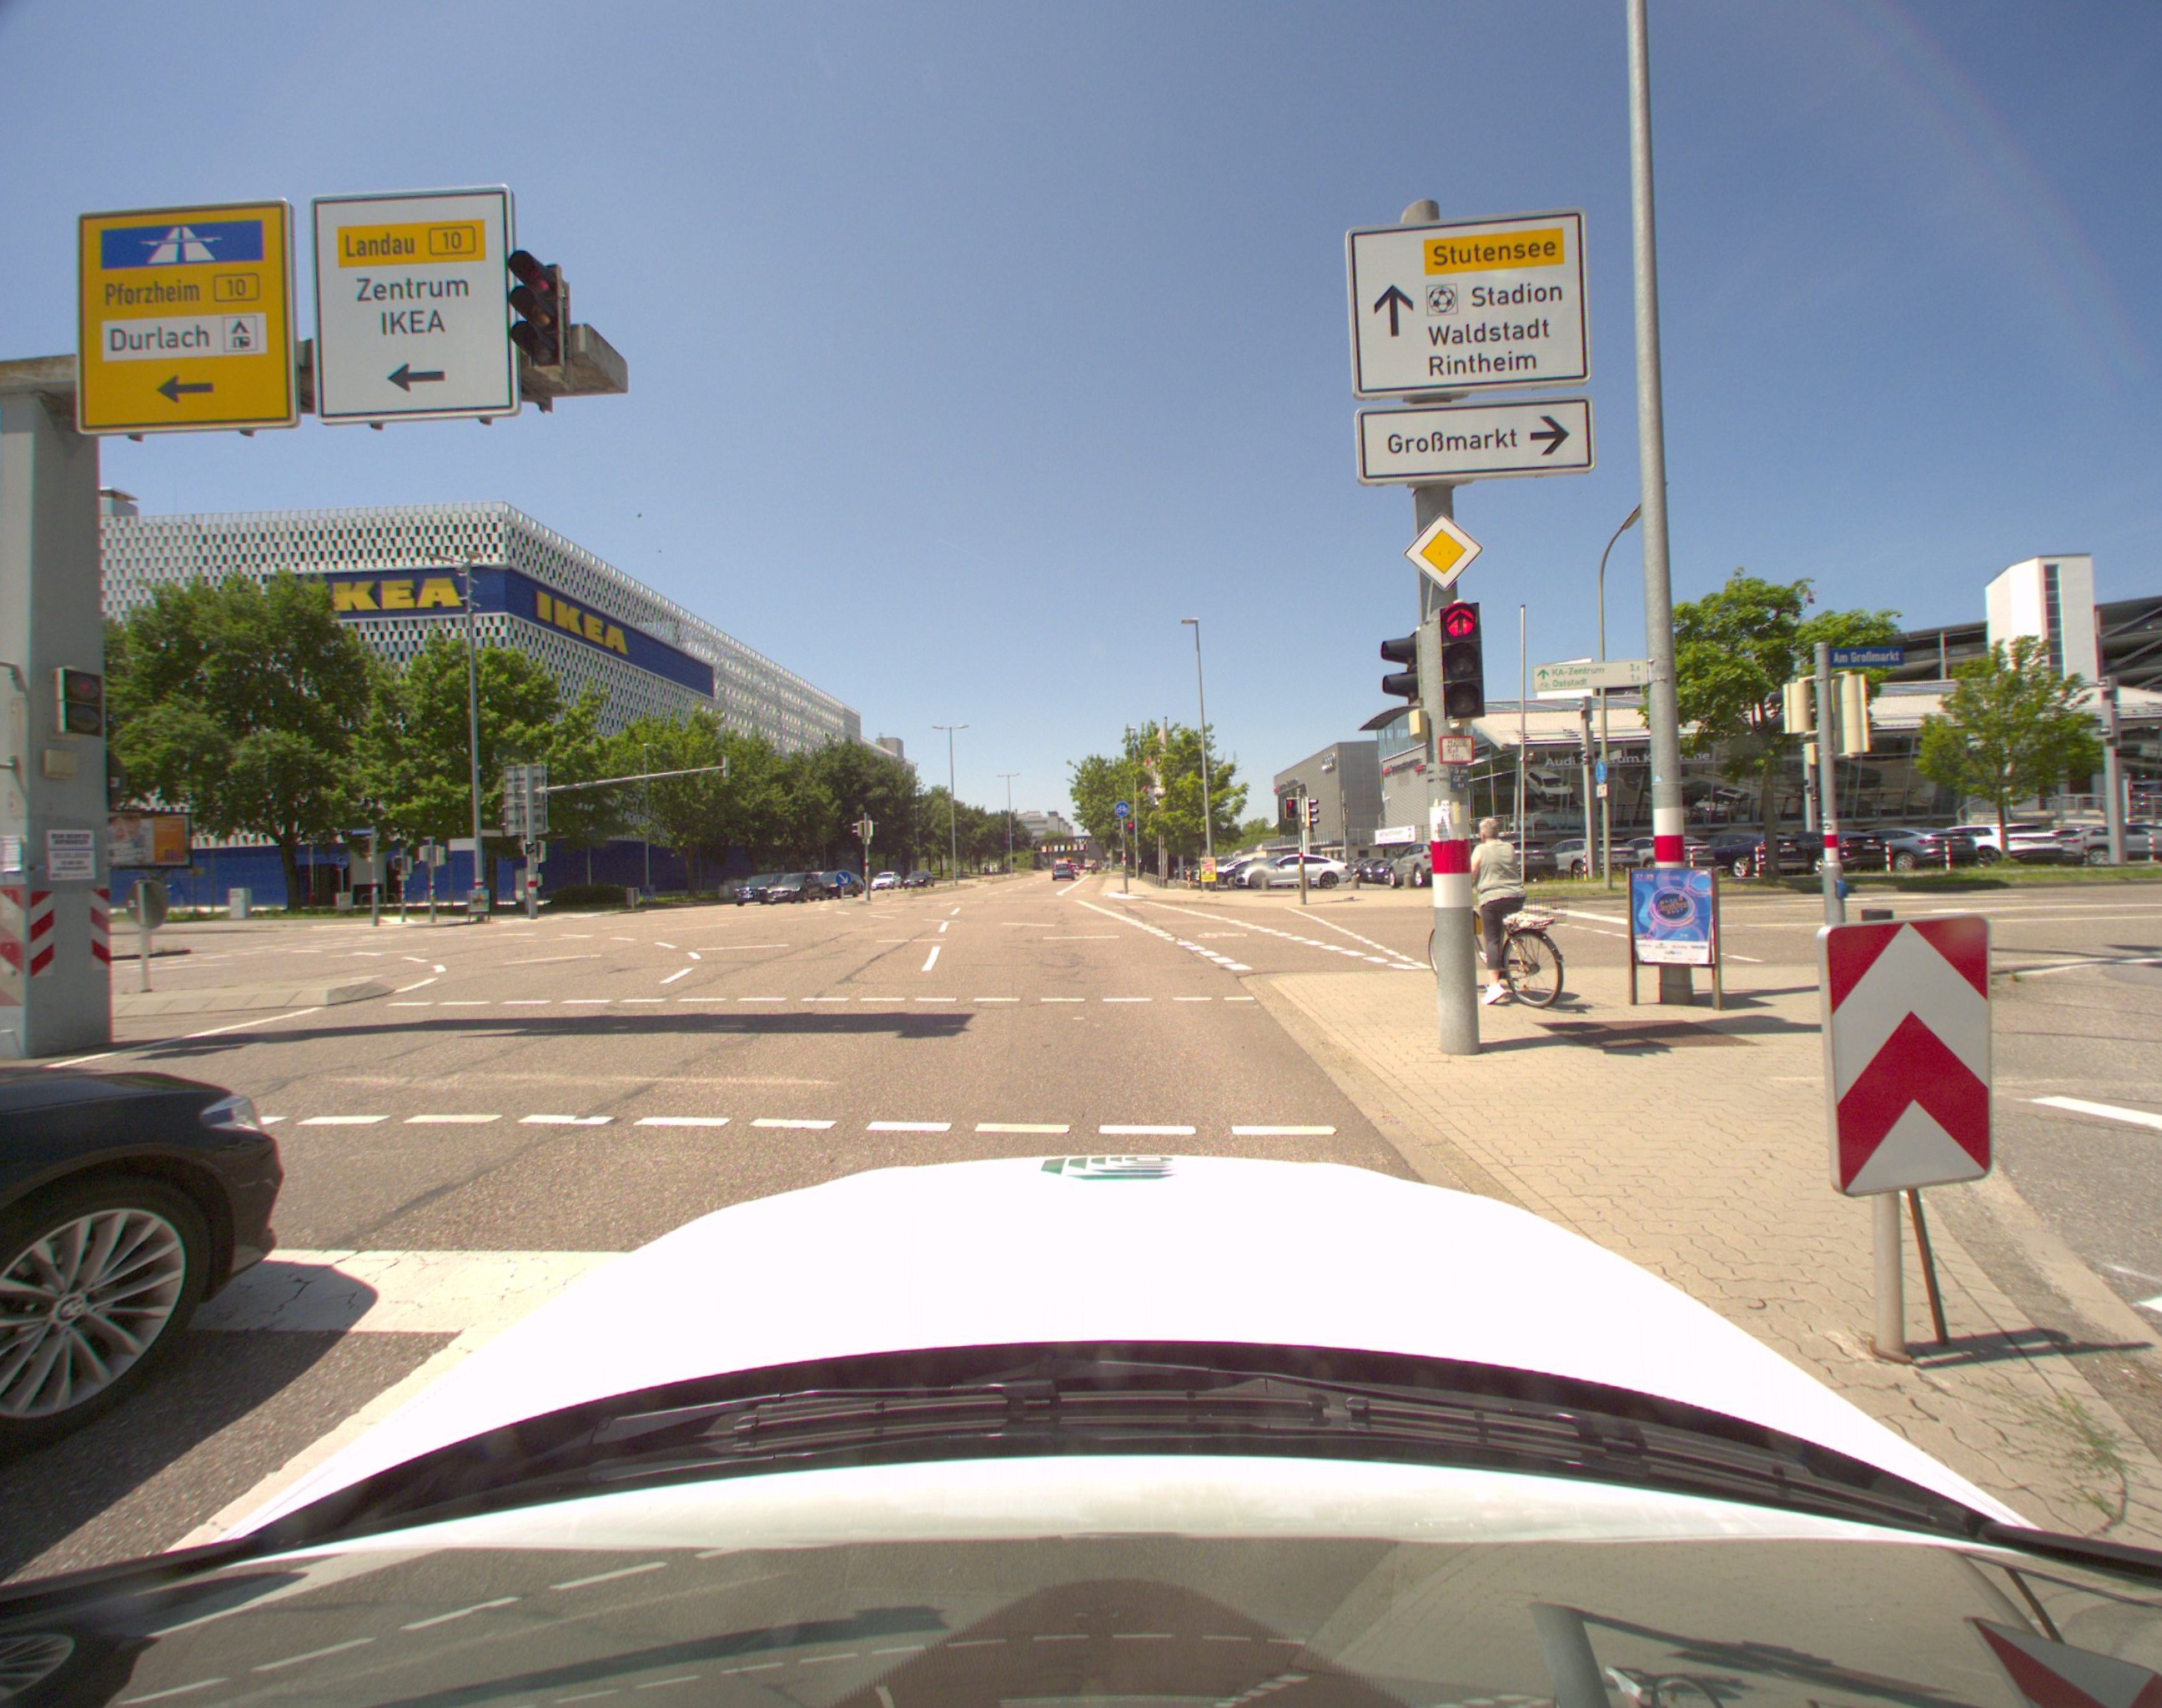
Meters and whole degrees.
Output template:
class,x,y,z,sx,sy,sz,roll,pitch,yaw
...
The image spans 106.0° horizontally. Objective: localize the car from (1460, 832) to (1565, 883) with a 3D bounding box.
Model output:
class,x,y,z,sx,sy,sz,roll,pitch,yaw
car,15.057,0.179,28.643,1.836,1.655,4.003,0,-2,5

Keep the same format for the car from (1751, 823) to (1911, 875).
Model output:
class,x,y,z,sx,sy,sz,roll,pitch,yaw
car,25.927,-0.133,28.360,1.840,1.654,3.994,0,-1,-2

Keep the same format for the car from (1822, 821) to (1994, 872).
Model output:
class,x,y,z,sx,sy,sz,roll,pitch,yaw
car,28.497,-0.224,28.262,1.840,1.654,3.994,0,-1,-2

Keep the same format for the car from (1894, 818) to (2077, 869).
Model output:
class,x,y,z,sx,sy,sz,roll,pitch,yaw
car,31.182,-0.316,28.267,1.840,1.654,3.994,0,-1,-2

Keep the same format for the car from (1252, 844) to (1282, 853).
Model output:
class,x,y,z,sx,sy,sz,roll,pitch,yaw
car,27.479,-0.879,120.310,3.930,1.211,1.715,-1,-1,-3

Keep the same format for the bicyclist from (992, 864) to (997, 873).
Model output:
class,x,y,z,sx,sy,sz,roll,pitch,yaw
bicyclist,-16.578,2.807,156.318,0.634,1.582,0.885,-2,-1,3

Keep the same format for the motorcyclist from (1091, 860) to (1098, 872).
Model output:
class,x,y,z,sx,sy,sz,roll,pitch,yaw
motorcyclist,1.750,1.604,106.100,0.719,1.529,0.868,0,-1,-8

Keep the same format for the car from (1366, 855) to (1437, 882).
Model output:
class,x,y,z,sx,sy,sz,roll,pitch,yaw
car,19.135,0.842,48.741,3.634,1.580,1.643,0,-1,1

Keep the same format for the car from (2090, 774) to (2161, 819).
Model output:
class,x,y,z,sx,sy,sz,roll,pitch,yaw
car,45.779,-2.479,34.021,4.552,1.707,1.916,-2,-1,4

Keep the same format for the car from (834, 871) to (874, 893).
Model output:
class,x,y,z,sx,sy,sz,roll,pitch,yaw
car,-16.496,2.002,59.295,1.643,1.486,3.916,-3,-1,2

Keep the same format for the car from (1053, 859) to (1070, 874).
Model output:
class,x,y,z,sx,sy,sz,roll,pitch,yaw
car,-2.681,1.738,112.717,1.986,2.014,4.000,-2,-1,1

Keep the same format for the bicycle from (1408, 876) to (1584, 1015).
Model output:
class,x,y,z,sx,sy,sz,roll,pitch,yaw
bicycle,3.983,0.818,8.011,0.627,1.133,1.891,-1,0,-5

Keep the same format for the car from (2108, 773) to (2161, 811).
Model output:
class,x,y,z,sx,sy,sz,roll,pitch,yaw
car,53.471,-3.108,39.518,1.905,1.722,4.142,-2,0,-5

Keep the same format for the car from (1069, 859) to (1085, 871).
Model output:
class,x,y,z,sx,sy,sz,roll,pitch,yaw
car,-0.449,1.313,96.836,1.737,1.396,3.530,-1,0,2

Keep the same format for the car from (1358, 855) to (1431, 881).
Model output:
class,x,y,z,sx,sy,sz,roll,pitch,yaw
car,19.636,0.861,51.052,3.967,1.573,1.634,0,-1,1

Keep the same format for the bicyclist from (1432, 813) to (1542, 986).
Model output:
class,x,y,z,sx,sy,sz,roll,pitch,yaw
bicyclist,3.976,0.427,8.029,0.627,1.606,0.824,0,-1,-5

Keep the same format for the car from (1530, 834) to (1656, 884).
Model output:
class,x,y,z,sx,sy,sz,roll,pitch,yaw
car,17.884,0.187,28.702,1.840,1.654,3.994,0,-1,-2

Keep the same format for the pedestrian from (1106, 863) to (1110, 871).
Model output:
class,x,y,z,sx,sy,sz,roll,pitch,yaw
pedestrian,4.628,2.161,138.311,0.621,1.374,0.564,-2,-1,0

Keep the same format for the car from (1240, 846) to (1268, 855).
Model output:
class,x,y,z,sx,sy,sz,roll,pitch,yaw
car,27.815,-0.559,130.877,3.978,1.312,1.795,-2,-1,-3

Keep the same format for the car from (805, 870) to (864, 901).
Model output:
class,x,y,z,sx,sy,sz,roll,pitch,yaw
car,-13.696,1.719,45.497,1.720,1.505,4.245,-4,-1,2

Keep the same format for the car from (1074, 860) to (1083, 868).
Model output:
class,x,y,z,sx,sy,sz,roll,pitch,yaw
car,-0.648,2.584,213.094,1.984,2.013,4.005,-3,-1,5

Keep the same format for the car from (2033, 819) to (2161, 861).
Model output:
class,x,y,z,sx,sy,sz,roll,pitch,yaw
car,39.633,-0.556,30.654,4.531,1.471,1.925,-3,-1,26

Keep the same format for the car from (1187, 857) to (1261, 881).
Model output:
class,x,y,z,sx,sy,sz,roll,pitch,yaw
car,8.623,0.896,49.232,4.210,1.390,1.869,0,-1,1

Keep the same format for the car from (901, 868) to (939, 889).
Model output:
class,x,y,z,sx,sy,sz,roll,pitch,yaw
car,-12.940,1.946,65.686,1.718,1.446,4.725,-4,-1,4

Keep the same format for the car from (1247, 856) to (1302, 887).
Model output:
class,x,y,z,sx,sy,sz,roll,pitch,yaw
car,9.352,0.814,39.604,1.855,1.420,4.667,0,-1,4

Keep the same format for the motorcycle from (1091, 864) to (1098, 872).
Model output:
class,x,y,z,sx,sy,sz,roll,pitch,yaw
motorcycle,1.764,1.804,106.047,0.716,1.105,1.825,-1,-1,-8

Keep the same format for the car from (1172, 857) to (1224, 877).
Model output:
class,x,y,z,sx,sy,sz,roll,pitch,yaw
car,8.609,0.990,60.251,3.668,1.453,1.834,0,-1,1

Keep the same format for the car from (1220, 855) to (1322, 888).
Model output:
class,x,y,z,sx,sy,sz,roll,pitch,yaw
car,8.253,0.747,35.588,4.081,1.390,1.869,0,-1,1

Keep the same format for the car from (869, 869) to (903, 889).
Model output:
class,x,y,z,sx,sy,sz,roll,pitch,yaw
car,-16.259,2.082,68.170,1.737,1.486,4.001,-3,-1,2

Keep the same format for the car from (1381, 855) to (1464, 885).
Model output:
class,x,y,z,sx,sy,sz,roll,pitch,yaw
car,19.052,0.881,45.532,3.970,1.622,1.657,0,-1,1

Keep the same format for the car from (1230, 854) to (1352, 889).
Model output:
class,x,y,z,sx,sy,sz,roll,pitch,yaw
car,8.480,0.704,33.195,4.572,1.390,1.871,0,-1,3

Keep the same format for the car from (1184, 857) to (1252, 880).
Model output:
class,x,y,z,sx,sy,sz,roll,pitch,yaw
car,8.742,0.908,52.163,4.085,1.405,1.869,0,-1,1

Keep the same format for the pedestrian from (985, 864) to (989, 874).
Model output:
class,x,y,z,sx,sy,sz,roll,pitch,yaw
pedestrian,-18.452,2.977,160.213,0.741,1.884,0.578,-2,-1,2

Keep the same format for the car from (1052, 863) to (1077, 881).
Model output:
class,x,y,z,sx,sy,sz,roll,pitch,yaw
car,-1.385,1.504,68.639,1.894,1.376,4.232,-2,-1,1

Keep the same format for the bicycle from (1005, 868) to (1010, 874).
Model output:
class,x,y,z,sx,sy,sz,roll,pitch,yaw
bicycle,-15.589,3.561,172.845,0.627,1.159,2.118,-4,-1,1

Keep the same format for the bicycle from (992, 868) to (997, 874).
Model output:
class,x,y,z,sx,sy,sz,roll,pitch,yaw
bicycle,-16.547,3.303,156.348,0.635,1.134,1.971,-2,-1,2

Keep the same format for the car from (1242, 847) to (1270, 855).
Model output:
class,x,y,z,sx,sy,sz,roll,pitch,yaw
car,27.478,-0.478,127.867,3.977,1.312,1.795,0,-1,-3

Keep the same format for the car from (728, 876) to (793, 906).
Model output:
class,x,y,z,sx,sy,sz,roll,pitch,yaw
car,-16.803,1.902,42.939,1.654,1.424,4.039,-3,-1,2

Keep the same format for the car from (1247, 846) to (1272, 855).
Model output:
class,x,y,z,sx,sy,sz,roll,pitch,yaw
car,27.308,-0.502,124.612,3.515,1.239,1.675,0,-1,-3

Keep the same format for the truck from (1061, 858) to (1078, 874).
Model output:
class,x,y,z,sx,sy,sz,roll,pitch,yaw
truck,-1.814,1.906,130.311,2.449,2.410,7.136,0,0,2

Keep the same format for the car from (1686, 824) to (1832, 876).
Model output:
class,x,y,z,sx,sy,sz,roll,pitch,yaw
car,23.133,-0.104,28.000,1.624,1.654,3.907,-1,-1,-2

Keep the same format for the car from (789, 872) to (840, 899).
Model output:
class,x,y,z,sx,sy,sz,roll,pitch,yaw
car,-16.675,1.936,51.180,1.720,1.544,3.916,-3,-1,2

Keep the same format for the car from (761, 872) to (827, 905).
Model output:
class,x,y,z,sx,sy,sz,roll,pitch,yaw
car,-13.725,1.638,39.210,1.637,1.389,3.717,-4,-1,2

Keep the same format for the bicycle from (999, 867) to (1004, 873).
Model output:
class,x,y,z,sx,sy,sz,roll,pitch,yaw
bicycle,-15.604,3.128,160.296,0.737,1.125,2.434,-2,-1,1

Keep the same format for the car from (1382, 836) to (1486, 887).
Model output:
class,x,y,z,sx,sy,sz,roll,pitch,yaw
car,12.407,0.312,28.974,1.860,1.558,4.506,-3,-2,3

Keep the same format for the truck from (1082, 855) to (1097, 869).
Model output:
class,x,y,z,sx,sy,sz,roll,pitch,yaw
truck,1.686,1.678,166.509,2.602,2.850,5.622,0,-1,5

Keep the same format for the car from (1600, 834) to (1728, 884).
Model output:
class,x,y,z,sx,sy,sz,roll,pitch,yaw
car,20.200,0.142,28.425,1.632,1.616,3.815,-1,1,-2

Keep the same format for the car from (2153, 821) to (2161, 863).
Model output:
class,x,y,z,sx,sy,sz,roll,pitch,yaw
car,39.493,-0.491,26.889,4.558,1.471,1.861,-3,-1,26

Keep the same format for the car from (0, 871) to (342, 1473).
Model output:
class,x,y,z,sx,sy,sz,roll,pitch,yaw
car,-3.541,0.787,0.585,1.791,1.440,4.557,-2,0,1

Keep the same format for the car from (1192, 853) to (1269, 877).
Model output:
class,x,y,z,sx,sy,sz,roll,pitch,yaw
car,8.484,0.618,46.390,4.084,1.349,1.869,0,-1,1

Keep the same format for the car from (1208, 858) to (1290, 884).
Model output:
class,x,y,z,sx,sy,sz,roll,pitch,yaw
car,8.951,0.908,43.614,4.081,1.364,1.875,0,-1,1

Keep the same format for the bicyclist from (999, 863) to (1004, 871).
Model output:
class,x,y,z,sx,sy,sz,roll,pitch,yaw
bicyclist,-15.630,2.557,160.139,0.742,1.686,0.952,-2,-1,0

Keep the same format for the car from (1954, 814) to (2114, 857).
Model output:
class,x,y,z,sx,sy,sz,roll,pitch,yaw
car,39.866,-0.739,34.223,3.947,1.571,1.862,-3,-1,31

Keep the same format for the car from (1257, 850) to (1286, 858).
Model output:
class,x,y,z,sx,sy,sz,roll,pitch,yaw
car,27.156,0.014,116.125,3.716,1.130,1.682,0,-1,-3
